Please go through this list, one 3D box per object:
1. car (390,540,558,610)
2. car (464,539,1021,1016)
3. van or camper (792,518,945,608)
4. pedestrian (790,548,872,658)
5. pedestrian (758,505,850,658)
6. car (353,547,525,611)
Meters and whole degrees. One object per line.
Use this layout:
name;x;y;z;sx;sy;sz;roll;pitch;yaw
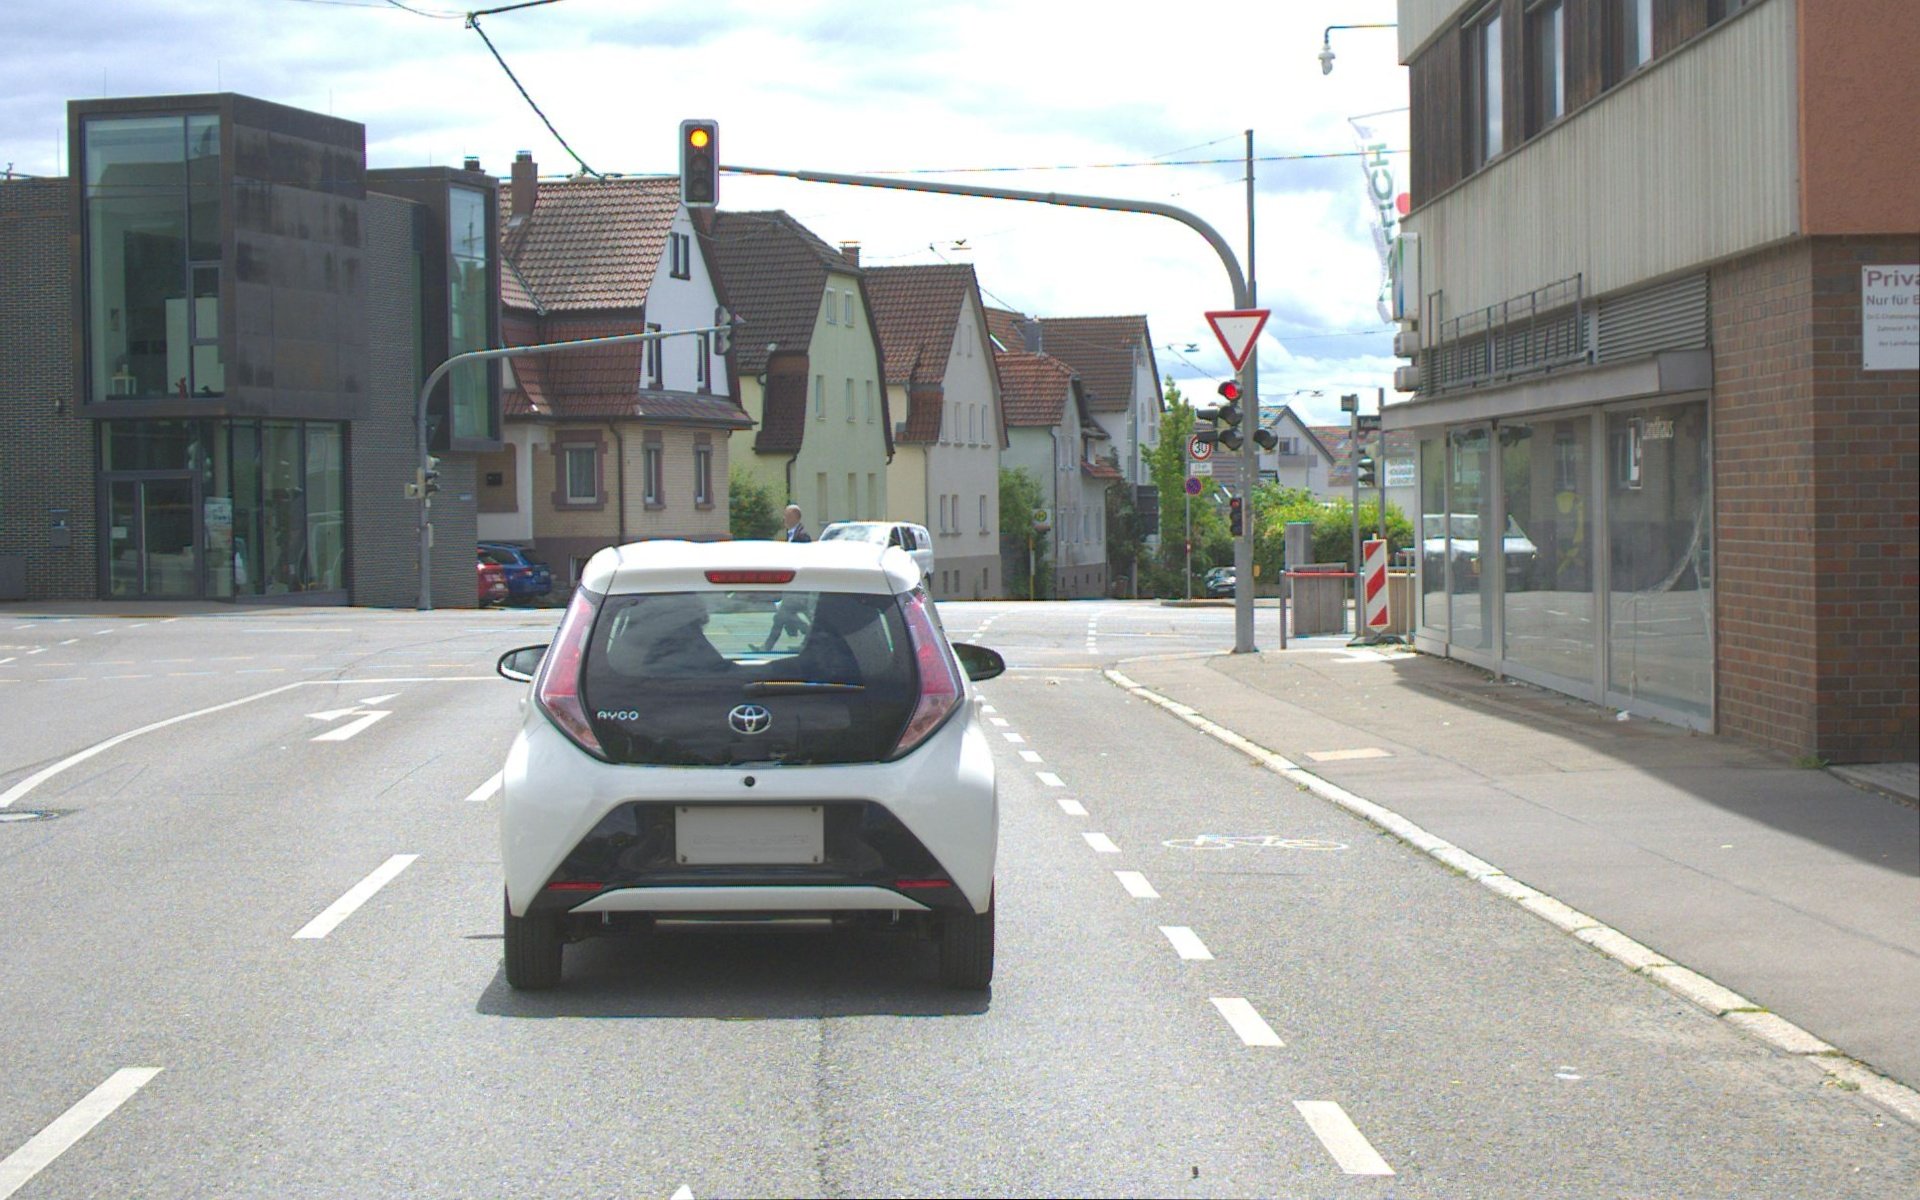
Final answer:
car;-11.710;-0.613;82.894;3.616;1.600;1.691;1;1;11
car;-0.760;0.526;12.316;1.697;1.451;3.299;1;1;-3
van or camper;-2.020;-0.838;77.919;2.117;1.919;5.282;2;1;14
pedestrian;-1.446;0.025;38.446;0.733;1.217;0.646;0;1;-24
pedestrian;-1.773;-0.220;39.103;0.822;1.715;0.818;0;1;-22
car;-12.233;-0.499;80.789;3.616;1.414;1.691;1;1;11
